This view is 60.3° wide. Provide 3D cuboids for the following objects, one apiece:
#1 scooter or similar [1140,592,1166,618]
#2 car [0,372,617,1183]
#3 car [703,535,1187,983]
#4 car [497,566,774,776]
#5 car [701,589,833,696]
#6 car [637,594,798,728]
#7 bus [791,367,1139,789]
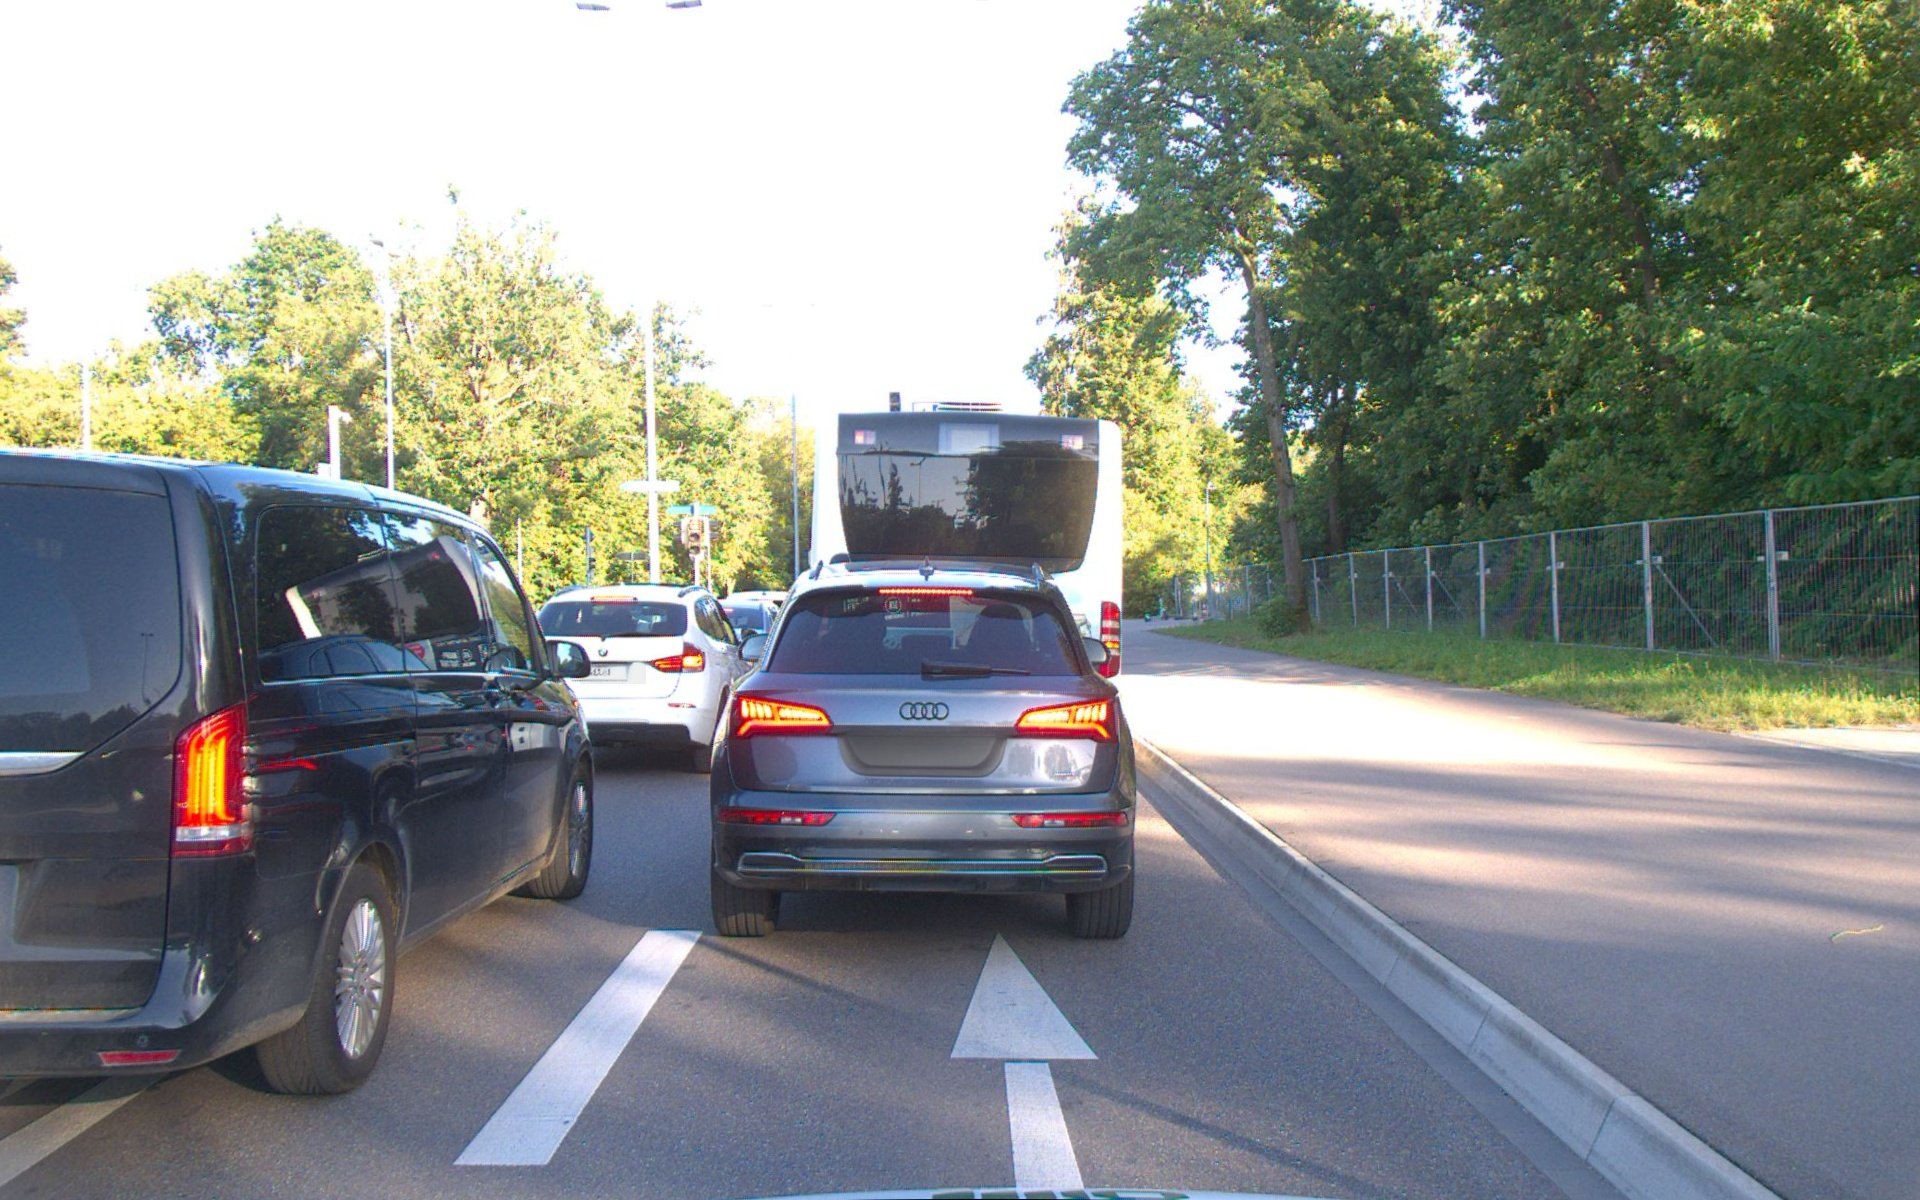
[{"bbox_3d":[9.122,0.239,78.049,1.158,1.195,0.659,1,0,10],"label":"scooter or similar"},{"bbox_3d":[-2.702,0.390,6.276,1.868,1.888,4.872,1,0,-1],"label":"car"},{"bbox_3d":[-0.084,0.585,8.346,1.830,1.693,4.000,1,1,-1],"label":"car"},{"bbox_3d":[-2.778,0.603,15.114,1.683,1.608,4.432,1,-1,-1],"label":"car"},{"bbox_3d":[-3.148,0.646,27.656,1.771,1.599,4.000,1,1,-1],"label":"car"},{"bbox_3d":[-3.005,0.701,21.242,1.750,1.469,4.274,1,1,-5],"label":"car"},{"bbox_3d":[0.063,-0.208,15.629,2.623,3.196,5.882,1,1,0],"label":"bus"}]
